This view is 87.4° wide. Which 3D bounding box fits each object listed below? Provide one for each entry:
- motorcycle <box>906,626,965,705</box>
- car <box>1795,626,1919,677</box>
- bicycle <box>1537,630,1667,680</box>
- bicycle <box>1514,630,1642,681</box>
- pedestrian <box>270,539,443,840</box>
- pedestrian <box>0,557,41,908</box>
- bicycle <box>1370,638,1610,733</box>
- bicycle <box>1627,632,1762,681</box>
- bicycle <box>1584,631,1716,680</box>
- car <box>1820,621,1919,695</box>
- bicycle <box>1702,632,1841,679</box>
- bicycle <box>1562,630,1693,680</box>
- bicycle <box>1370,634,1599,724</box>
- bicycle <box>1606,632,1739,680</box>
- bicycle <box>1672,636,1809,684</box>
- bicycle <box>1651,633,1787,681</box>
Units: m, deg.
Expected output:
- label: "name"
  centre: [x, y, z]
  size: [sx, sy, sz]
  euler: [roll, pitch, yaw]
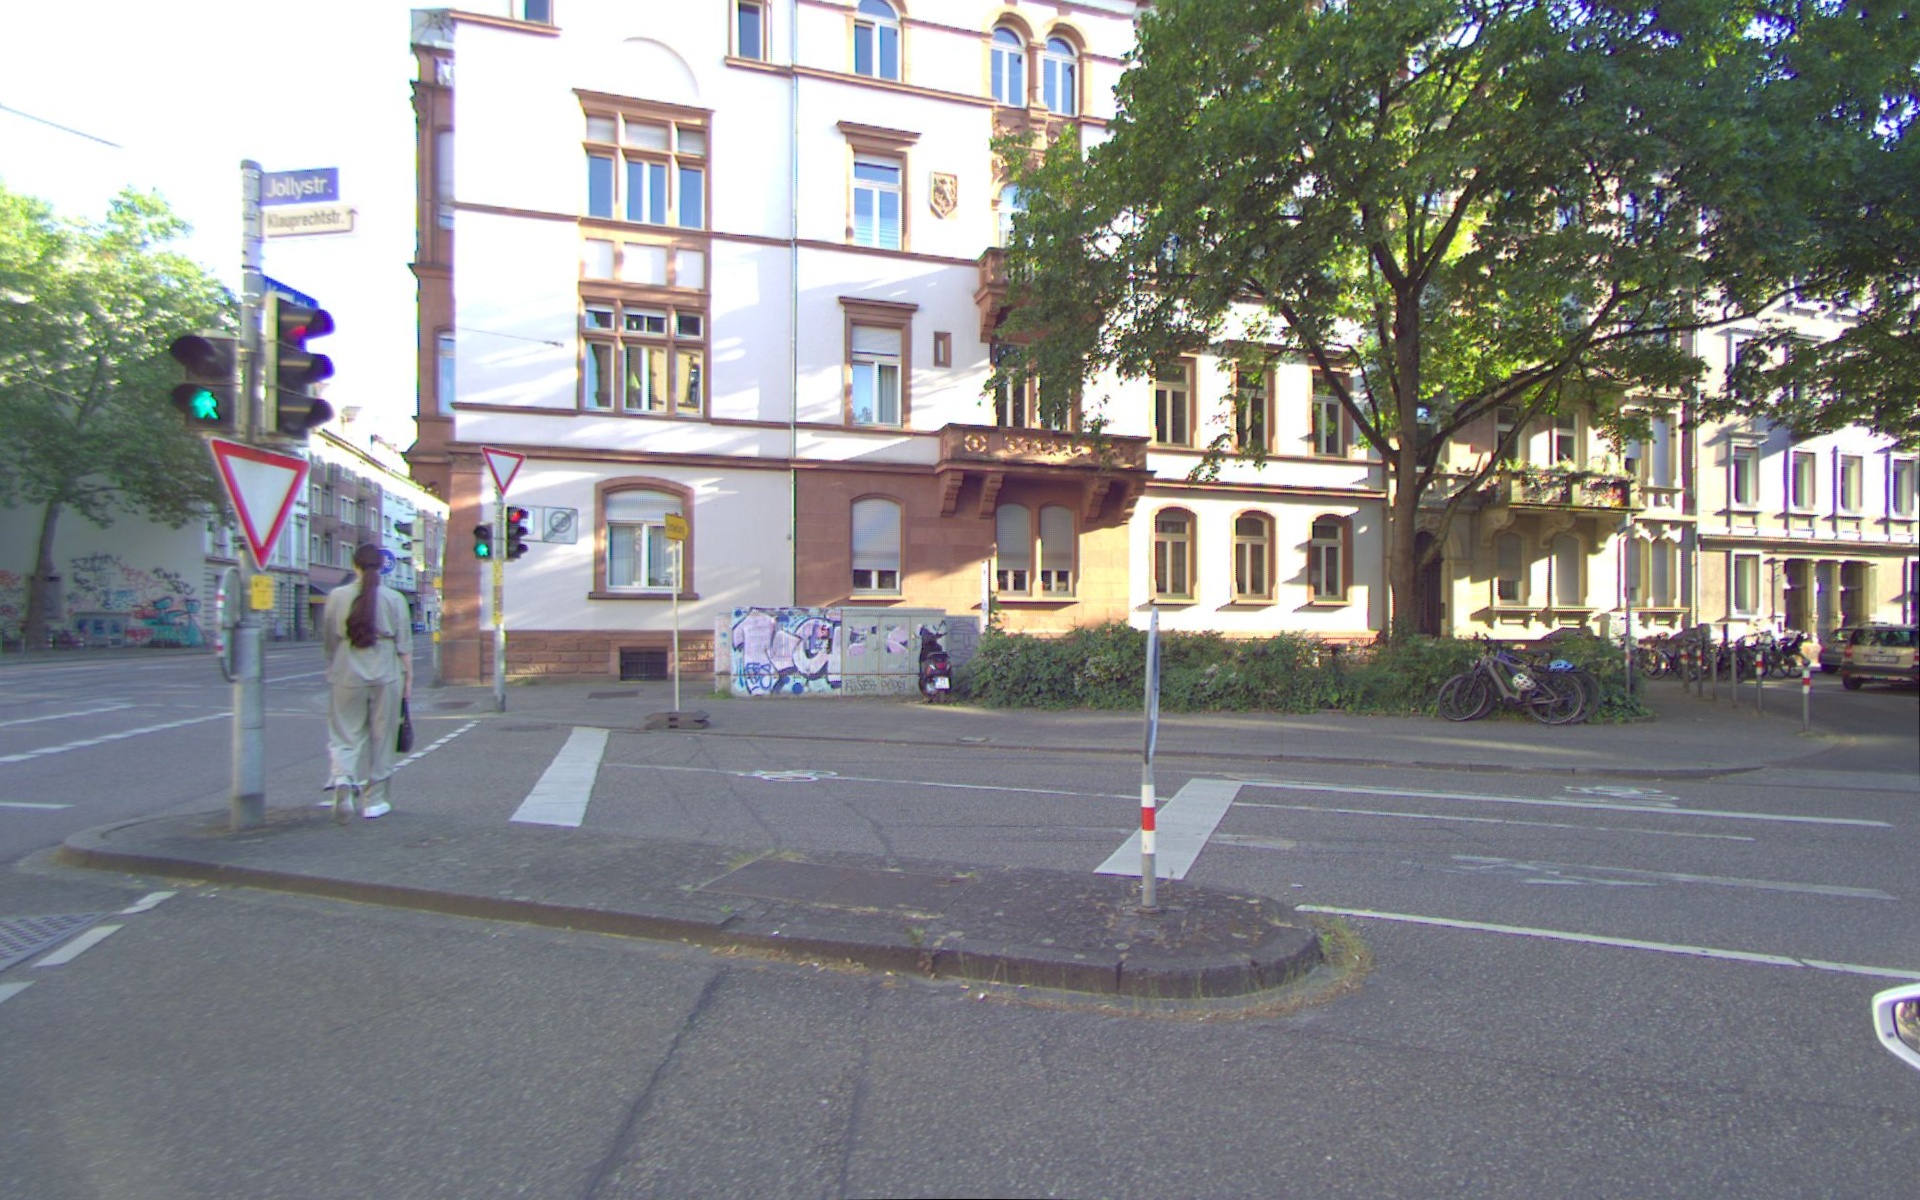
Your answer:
- label: "motorcycle"
  centre: [-0.449, 1.090, 17.414]
  size: [0.827, 1.282, 2.108]
  euler: [0, -1, -7]
- label: "car"
  centre: [26.510, 1.455, 29.052]
  size: [3.691, 1.394, 1.923]
  euler: [1, -1, -17]
- label: "bicycle"
  centre: [16.642, 1.389, 26.170]
  size: [0.740, 1.196, 3.126]
  euler: [0, -1, -17]
- label: "bicycle"
  centre: [15.853, 1.395, 25.904]
  size: [0.740, 1.196, 3.126]
  euler: [0, -1, -17]
- label: "pedestrian"
  centre: [-3.786, 0.525, 6.396]
  size: [0.858, 1.720, 0.977]
  euler: [1, -1, -28]
- label: "pedestrian"
  centre: [-5.091, 0.646, 4.742]
  size: [0.858, 1.720, 0.977]
  euler: [1, -1, -28]
- label: "bicycle"
  centre: [7.297, 1.153, 14.012]
  size: [2.901, 1.212, 0.547]
  euler: [0, -1, 22]
- label: "bicycle"
  centre: [19.729, 1.490, 27.117]
  size: [0.740, 1.196, 3.126]
  euler: [0, -1, -17]
- label: "bicycle"
  centre: [18.192, 1.434, 26.616]
  size: [0.740, 1.196, 3.126]
  euler: [0, -1, -17]
- label: "car"
  centre: [23.394, 1.378, 24.829]
  size: [3.951, 1.706, 1.985]
  euler: [1, -1, -29]
- label: "bicycle"
  centre: [22.418, 1.498, 27.855]
  size: [0.740, 1.196, 3.126]
  euler: [0, -1, -17]
- label: "bicycle"
  centre: [17.446, 1.410, 26.398]
  size: [0.740, 1.196, 3.126]
  euler: [0, -1, -17]
- label: "bicycle"
  centre: [7.512, 1.106, 14.567]
  size: [2.901, 1.212, 0.547]
  euler: [0, -1, 22]
- label: "bicycle"
  centre: [18.971, 1.463, 26.867]
  size: [0.740, 1.196, 3.126]
  euler: [0, -1, -17]
- label: "bicycle"
  centre: [21.329, 1.606, 27.566]
  size: [0.740, 1.196, 3.126]
  euler: [0, -1, -17]
- label: "bicycle"
  centre: [20.537, 1.519, 27.313]
  size: [0.740, 1.196, 3.126]
  euler: [0, -1, -17]
